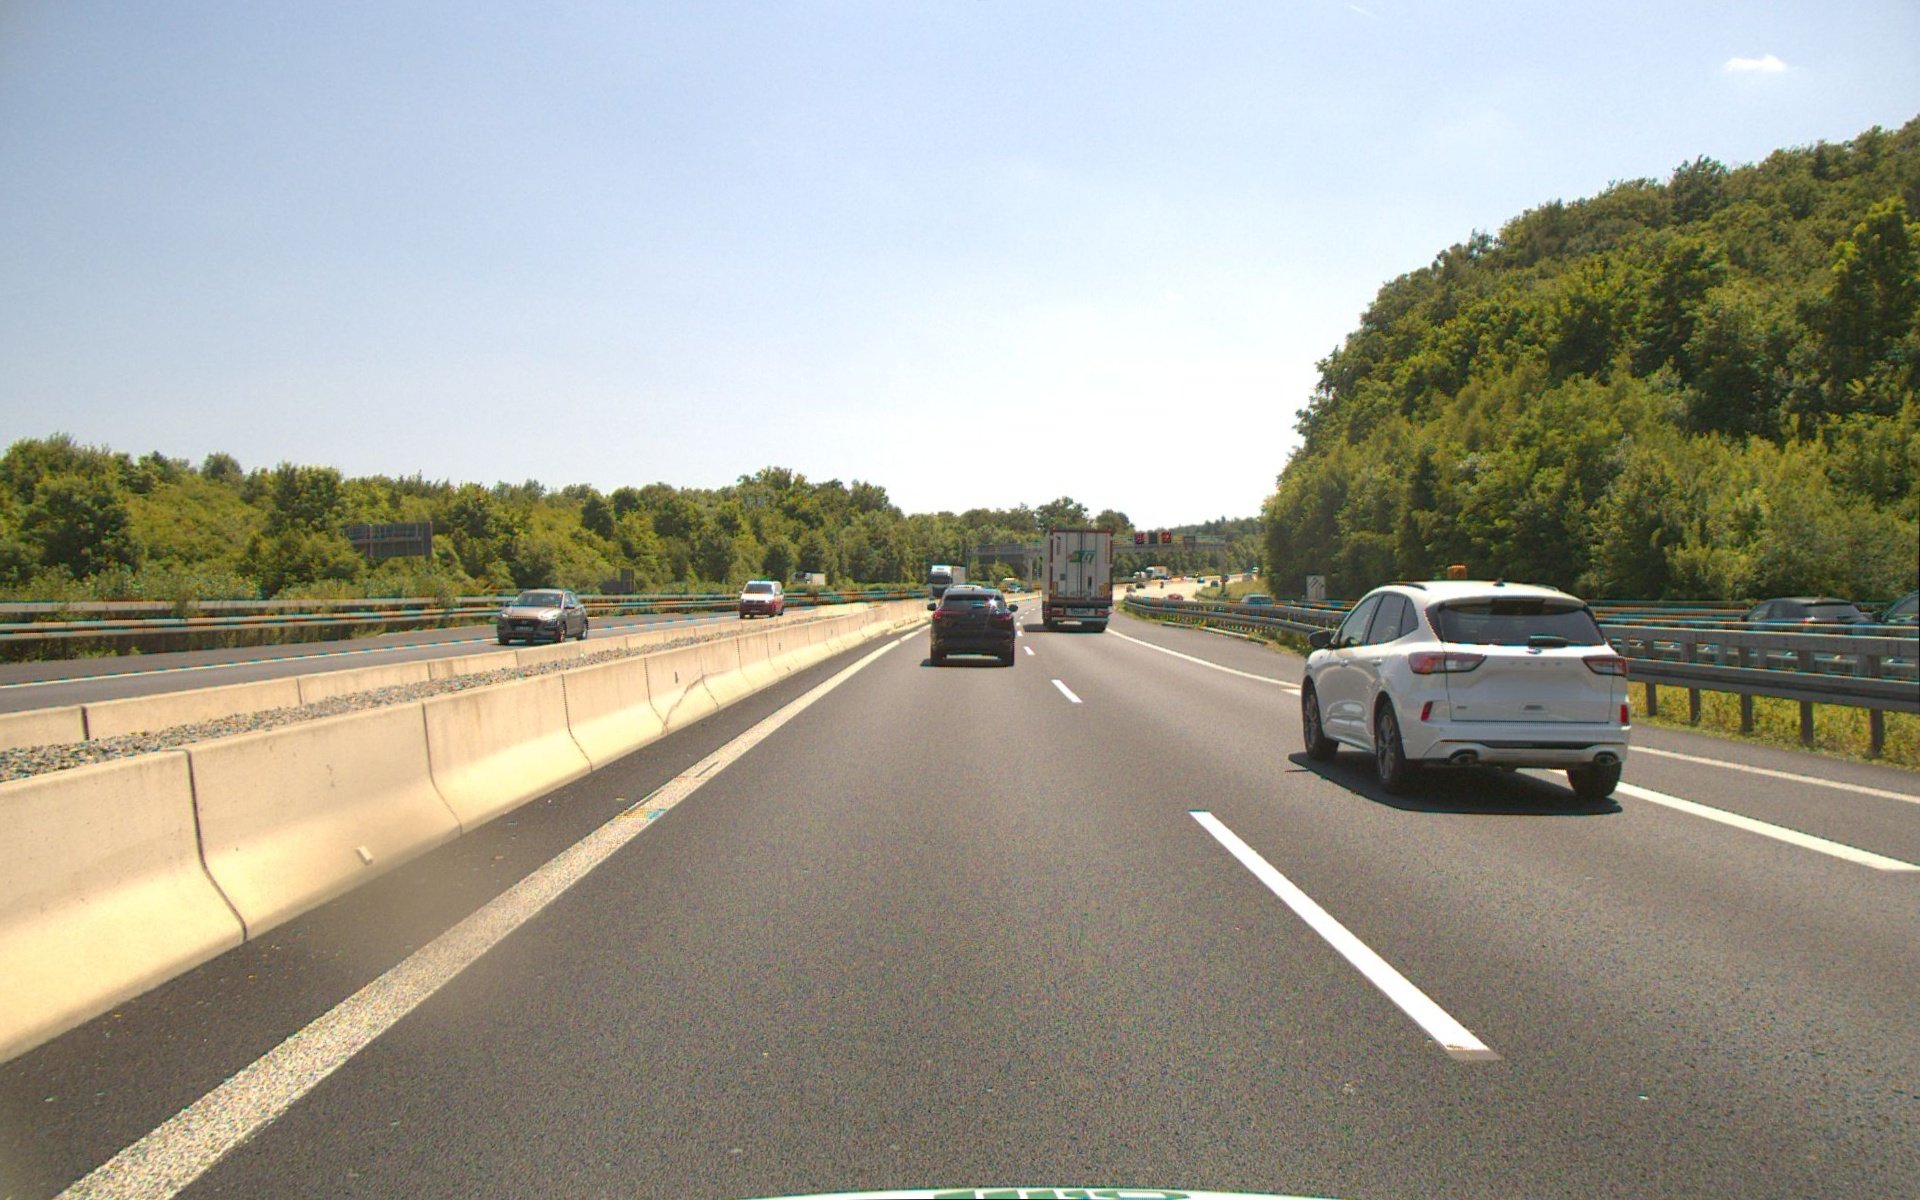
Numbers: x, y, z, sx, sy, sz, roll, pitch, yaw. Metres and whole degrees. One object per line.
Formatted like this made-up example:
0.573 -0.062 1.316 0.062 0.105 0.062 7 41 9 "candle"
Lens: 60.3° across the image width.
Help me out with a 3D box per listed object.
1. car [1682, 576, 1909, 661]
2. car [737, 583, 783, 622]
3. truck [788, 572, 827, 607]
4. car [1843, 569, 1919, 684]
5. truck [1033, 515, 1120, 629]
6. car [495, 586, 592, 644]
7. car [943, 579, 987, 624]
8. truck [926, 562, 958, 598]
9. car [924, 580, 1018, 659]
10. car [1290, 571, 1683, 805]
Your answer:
17.925 0.358 35.836 1.954 1.691 5.223 0 0 -5 "car"
-10.826 0.139 89.926 1.953 2.049 5.378 0 0 -1 "car"
-18.214 -1.186 198.452 2.640 4.029 10.783 0 0 5 "truck"
15.005 0.384 23.578 1.952 1.691 5.627 0 0 1 "car"
4.856 -1.071 71.196 2.970 4.496 12.018 0 0 0 "truck"
-11.874 0.399 47.439 1.692 1.559 4.260 1 0 0 "car"
0.268 0.075 80.974 1.952 2.048 4.001 -3 0 1 "car"
-2.080 -2.358 197.490 2.640 4.029 10.783 0 0 5 "truck"
0.186 0.419 35.809 1.744 1.605 3.997 0 0 -4 "car"
4.264 0.653 14.235 1.953 1.691 4.467 0 0 0 "car"
